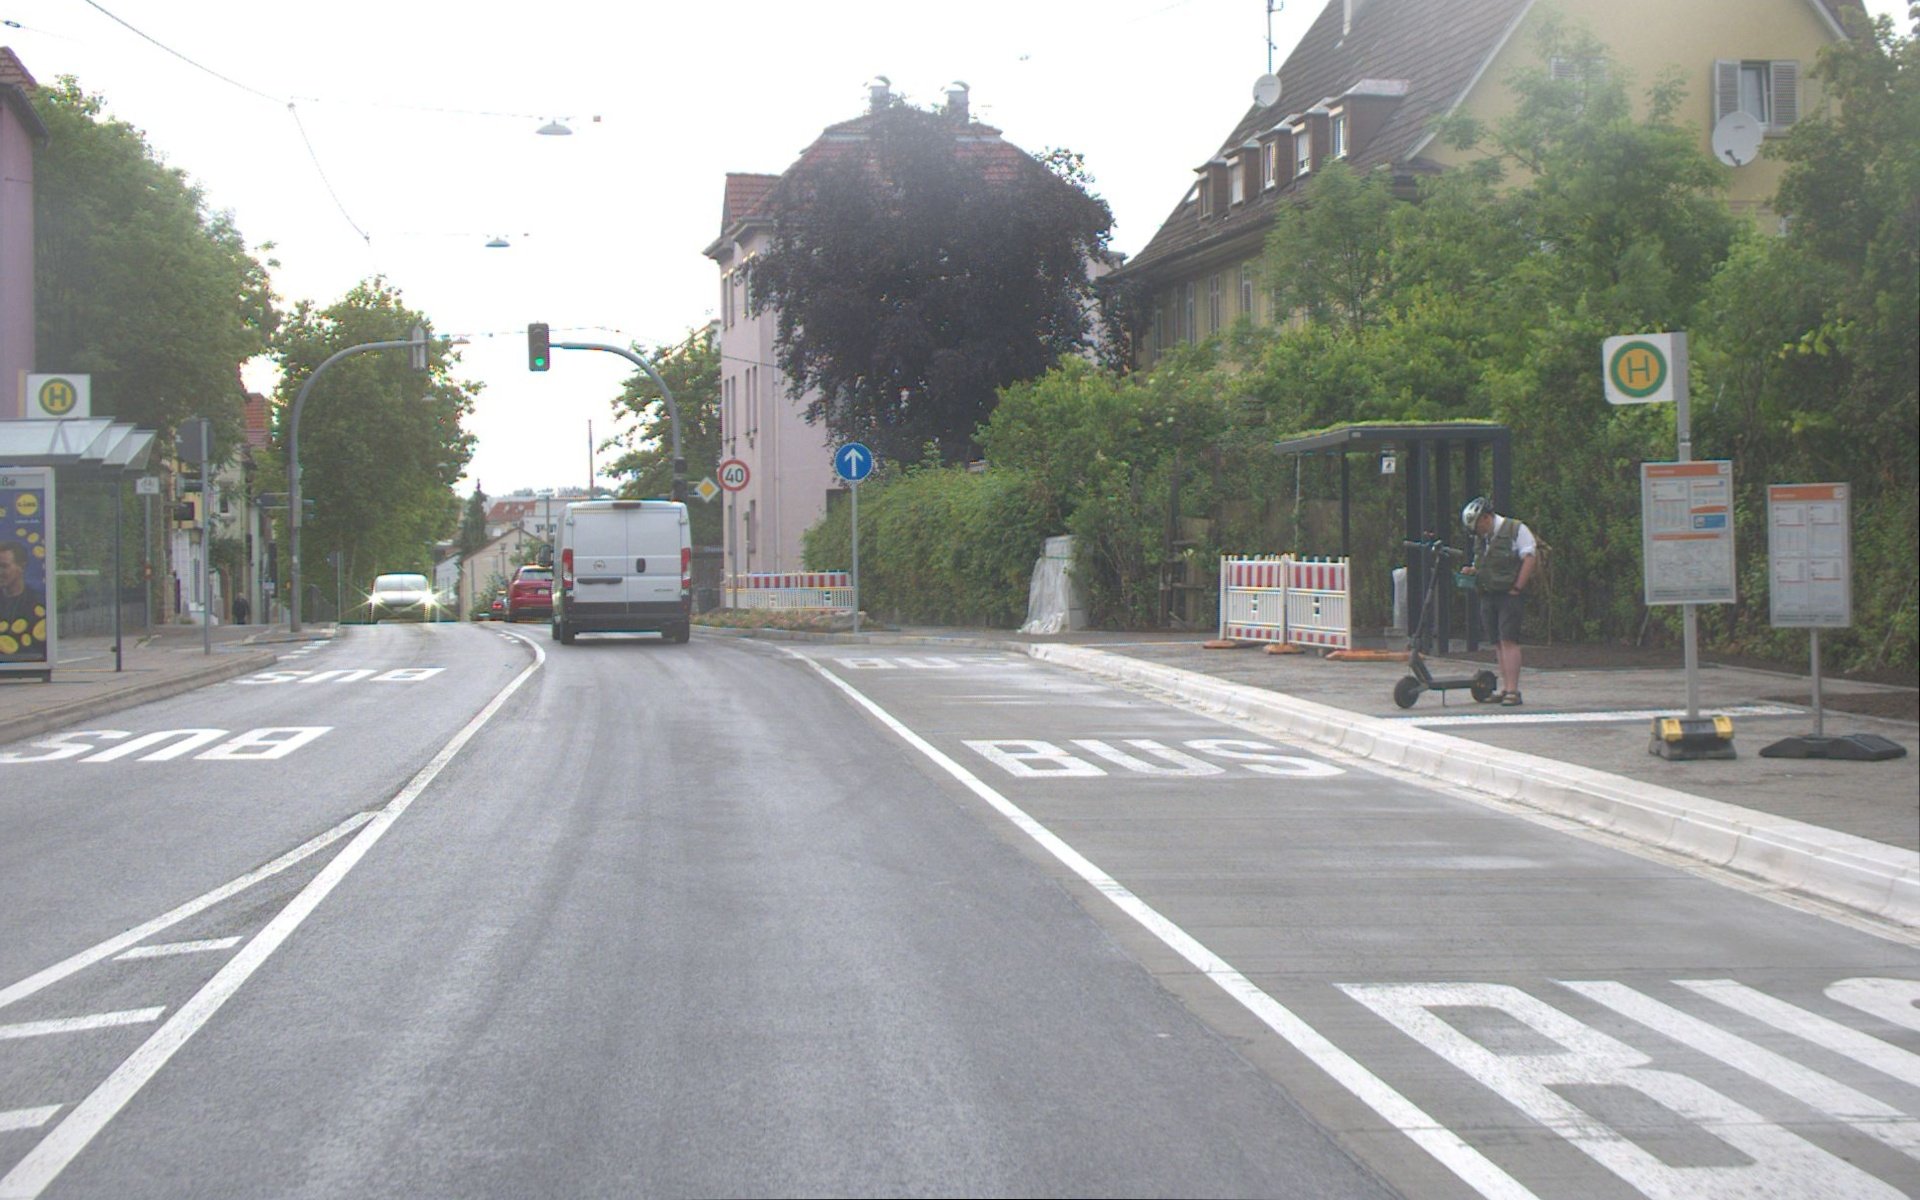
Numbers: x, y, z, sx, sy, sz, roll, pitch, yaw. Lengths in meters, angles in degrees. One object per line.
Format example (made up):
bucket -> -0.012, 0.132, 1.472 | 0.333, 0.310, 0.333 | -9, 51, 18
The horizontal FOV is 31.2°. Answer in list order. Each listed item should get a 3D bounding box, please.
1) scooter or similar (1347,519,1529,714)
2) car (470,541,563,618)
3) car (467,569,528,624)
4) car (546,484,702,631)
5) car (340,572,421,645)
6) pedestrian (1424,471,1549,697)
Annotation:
scooter or similar -> 3.752, 0.112, 26.900 | 1.551, 1.401, 0.497 | -4, 6, -40
car -> -11.071, -0.534, 85.728 | 2.237, 1.651, 4.715 | 0, 3, -8
car -> -17.390, -0.153, 129.394 | 2.237, 1.798, 4.715 | 0, 3, -7
car -> -5.449, -0.734, 55.241 | 2.237, 2.205, 4.715 | 0, 2, -9
car -> -16.247, 0.225, 96.523 | 1.993, 1.787, 4.002 | 0, 3, -6
pedestrian -> 4.112, -0.139, 26.904 | 0.906, 1.725, 0.653 | 1, 3, 5
